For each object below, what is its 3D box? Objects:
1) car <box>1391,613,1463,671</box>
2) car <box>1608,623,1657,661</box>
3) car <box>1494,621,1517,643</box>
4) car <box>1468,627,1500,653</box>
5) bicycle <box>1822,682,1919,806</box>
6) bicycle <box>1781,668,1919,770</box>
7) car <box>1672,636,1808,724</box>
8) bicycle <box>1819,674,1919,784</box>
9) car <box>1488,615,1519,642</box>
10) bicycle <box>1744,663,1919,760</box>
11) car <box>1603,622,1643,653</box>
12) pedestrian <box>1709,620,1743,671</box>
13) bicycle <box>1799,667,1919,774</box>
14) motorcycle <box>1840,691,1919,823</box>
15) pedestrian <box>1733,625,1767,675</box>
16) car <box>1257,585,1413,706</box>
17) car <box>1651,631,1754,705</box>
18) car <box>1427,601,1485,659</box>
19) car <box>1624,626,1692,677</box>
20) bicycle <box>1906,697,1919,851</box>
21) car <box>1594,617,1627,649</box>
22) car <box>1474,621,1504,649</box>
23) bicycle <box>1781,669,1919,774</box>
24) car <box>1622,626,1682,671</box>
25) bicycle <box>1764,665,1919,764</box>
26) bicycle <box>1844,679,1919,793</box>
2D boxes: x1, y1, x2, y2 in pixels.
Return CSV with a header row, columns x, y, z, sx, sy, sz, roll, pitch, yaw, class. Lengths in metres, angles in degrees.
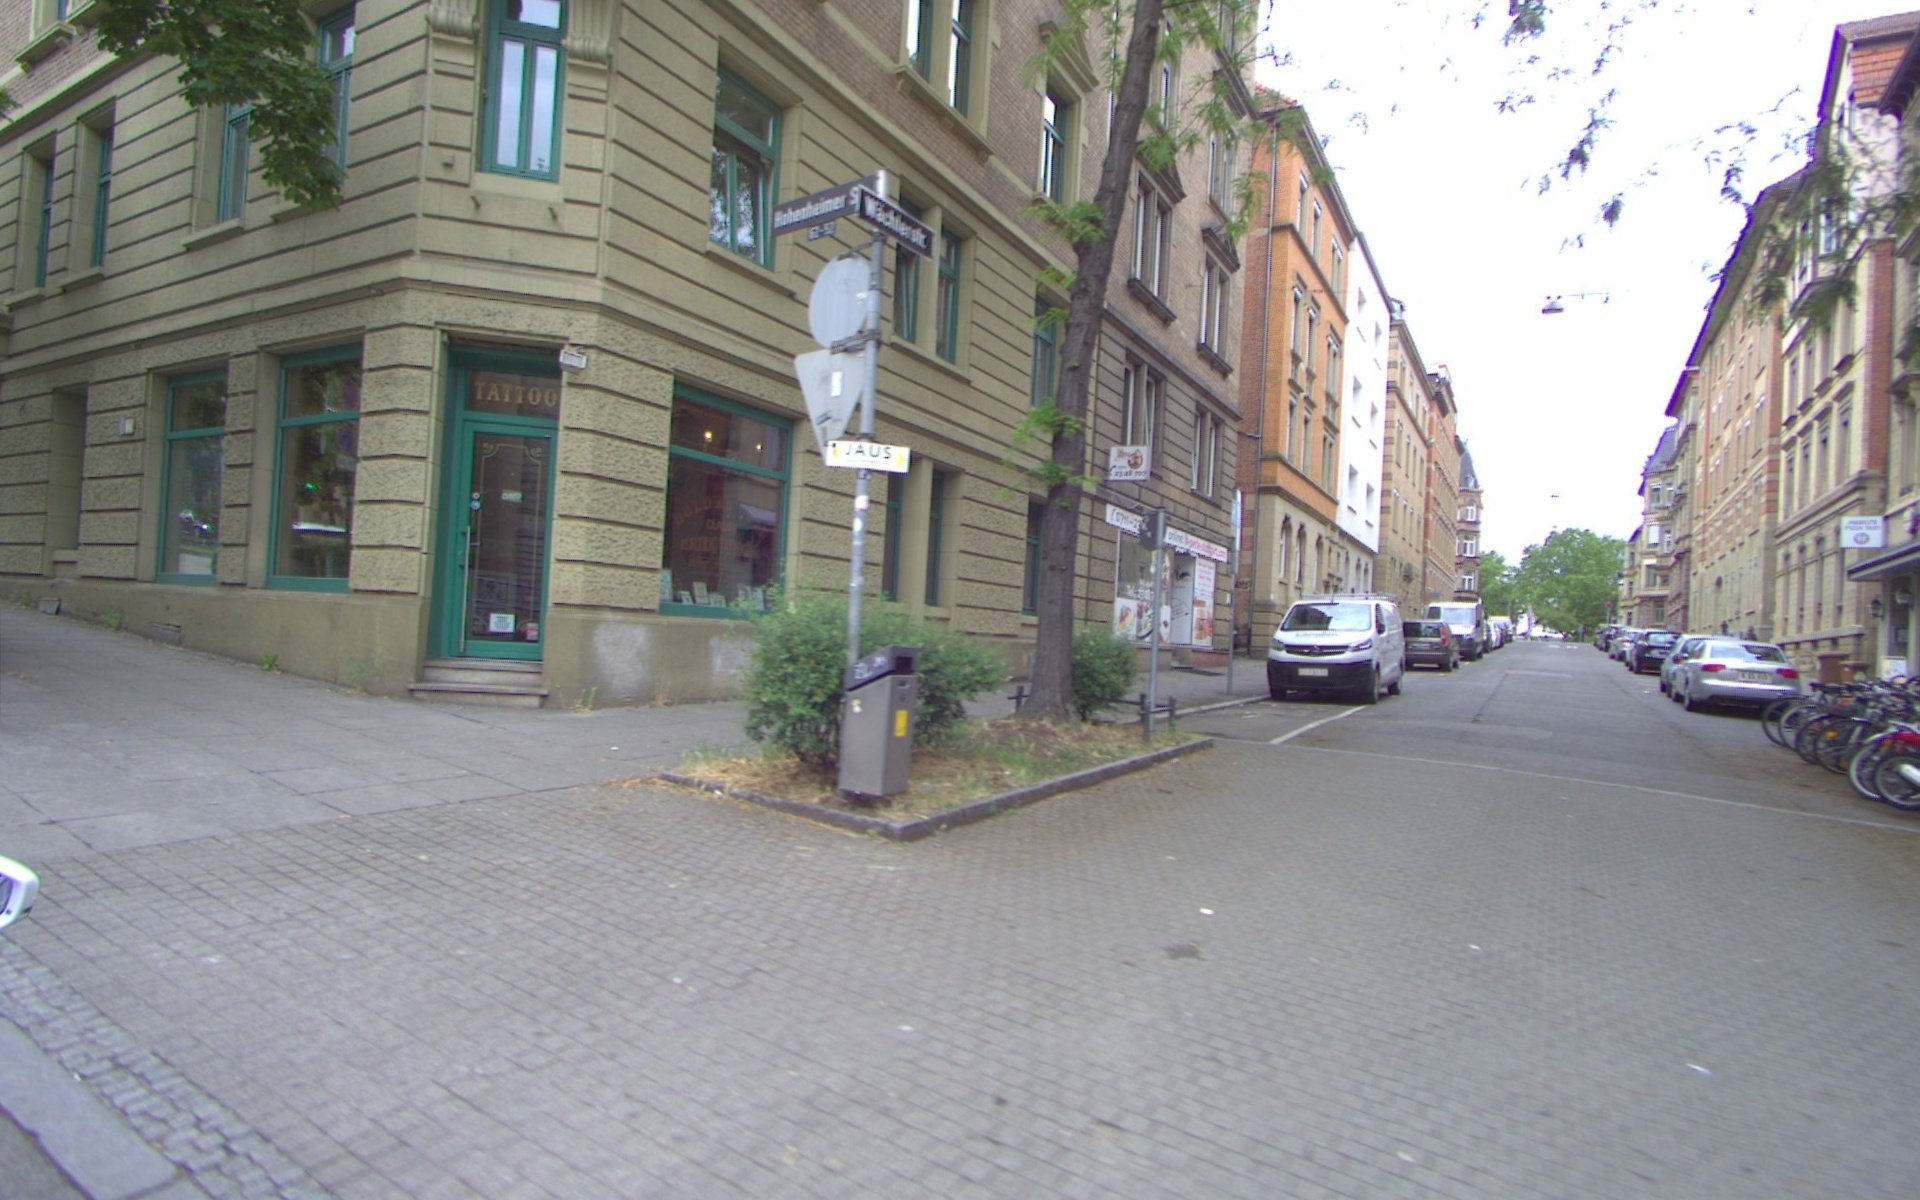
x,y,z,sx,sy,sz,roll,pitch,yaw,class
14.918,1.290,32.046,1.649,1.600,3.424,4,2,31,car
30.547,1.890,45.777,1.616,1.529,3.858,4,1,32,car
38.083,2.214,70.230,1.183,1.414,2.775,5,1,31,car
26.267,1.996,50.391,1.183,1.162,2.775,4,1,31,car
9.710,1.457,9.788,1.891,1.114,0.506,4,2,35,bicycle
11.551,1.492,12.550,1.886,1.114,0.565,3,2,22,bicycle
15.480,1.508,20.173,1.616,1.425,4.267,4,1,32,car
10.732,1.451,11.017,1.886,1.114,0.508,3,2,22,bicycle
40.952,2.116,75.760,1.738,1.879,4.728,5,1,31,car
12.040,1.504,13.780,1.886,1.114,0.590,3,2,23,bicycle
36.305,2.029,55.168,1.616,1.529,3.858,4,1,32,car
26.797,1.580,35.206,0.712,1.675,0.684,7,-1,31,pedestrian
10.917,1.405,11.518,1.886,1.114,0.508,3,2,22,bicycle
9.066,1.467,8.825,0.503,1.114,1.904,2,2,-34,motorcycle
28.154,1.785,35.869,0.712,1.675,0.684,7,-1,31,pedestrian
7.481,0.858,19.702,1.951,2.038,5.249,0,-2,31,car
17.955,1.577,24.470,1.616,1.529,3.858,4,1,32,car
19.602,1.143,39.728,1.649,2.115,3.424,5,2,31,car
23.819,1.709,34.431,1.616,1.529,3.858,4,1,32,car
7.911,1.334,6.933,1.890,1.114,0.507,3,2,31,bicycle
45.862,2.324,70.958,1.695,2.041,3.987,7,2,32,car
28.678,1.866,54.508,1.183,1.414,2.775,5,1,31,car
11.158,1.468,12.049,1.886,1.114,0.593,3,2,22,bicycle
26.590,1.830,38.757,1.616,1.529,3.858,4,1,32,car
11.835,1.499,13.185,1.886,1.114,0.565,3,2,22,bicycle
10.521,1.467,10.445,1.886,1.114,0.508,3,2,22,bicycle
